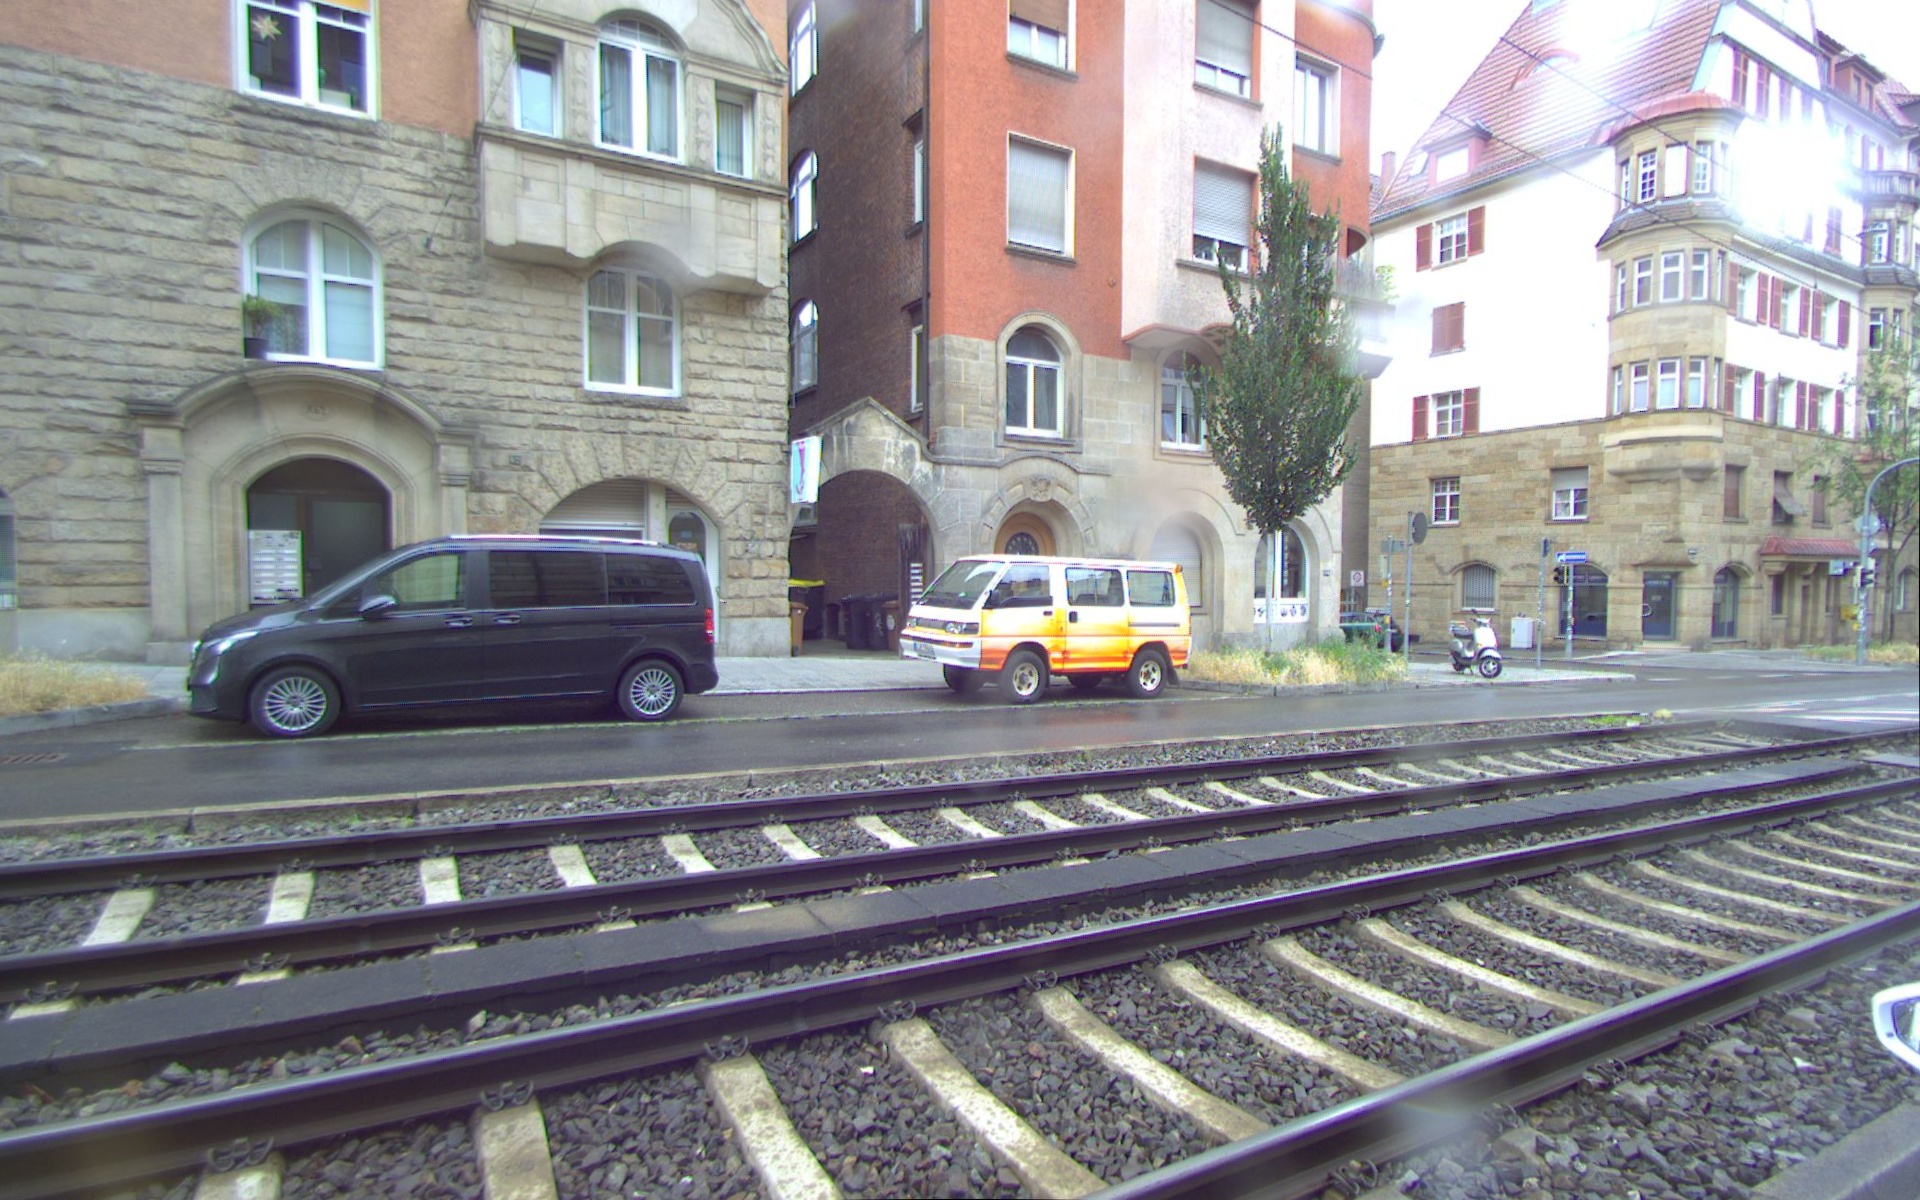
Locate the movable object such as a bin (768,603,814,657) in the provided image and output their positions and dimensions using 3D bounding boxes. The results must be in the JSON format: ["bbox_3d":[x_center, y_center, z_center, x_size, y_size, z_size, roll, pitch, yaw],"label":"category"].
[{"bbox_3d":[-2.946,0.514,17.510,0.647,0.910,0.544,2,0,-27],"label":"movable object such as a bin"}]

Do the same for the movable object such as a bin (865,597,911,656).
[{"bbox_3d":[-1.323,0.488,18.486,0.648,1.058,0.545,2,0,-29],"label":"movable object such as a bin"}]

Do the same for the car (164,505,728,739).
[{"bbox_3d":[-5.059,0.238,10.453,4.777,1.956,1.896,2,0,-31],"label":"car"}]

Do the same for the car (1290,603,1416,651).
[{"bbox_3d":[14.616,0.983,37.516,1.979,1.595,3.963,2,0,-33],"label":"car"}]

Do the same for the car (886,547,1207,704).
[{"bbox_3d":[1.311,0.367,14.417,4.426,1.956,1.719,2,0,-32],"label":"car"}]

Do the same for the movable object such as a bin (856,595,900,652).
[{"bbox_3d":[-1.548,0.442,18.993,0.648,1.058,0.545,2,0,-29],"label":"movable object such as a bin"}]

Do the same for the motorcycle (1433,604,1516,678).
[{"bbox_3d":[10.207,0.790,20.009,0.752,1.393,1.785,2,0,2],"label":"motorcycle"}]

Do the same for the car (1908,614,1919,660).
[{"bbox_3d":[34.193,1.305,34.297,4.130,1.549,1.680,2,0,-32],"label":"car"}]

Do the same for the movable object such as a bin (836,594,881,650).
[{"bbox_3d":[-1.971,0.423,19.486,0.648,1.058,0.676,2,0,-29],"label":"movable object such as a bin"}]
